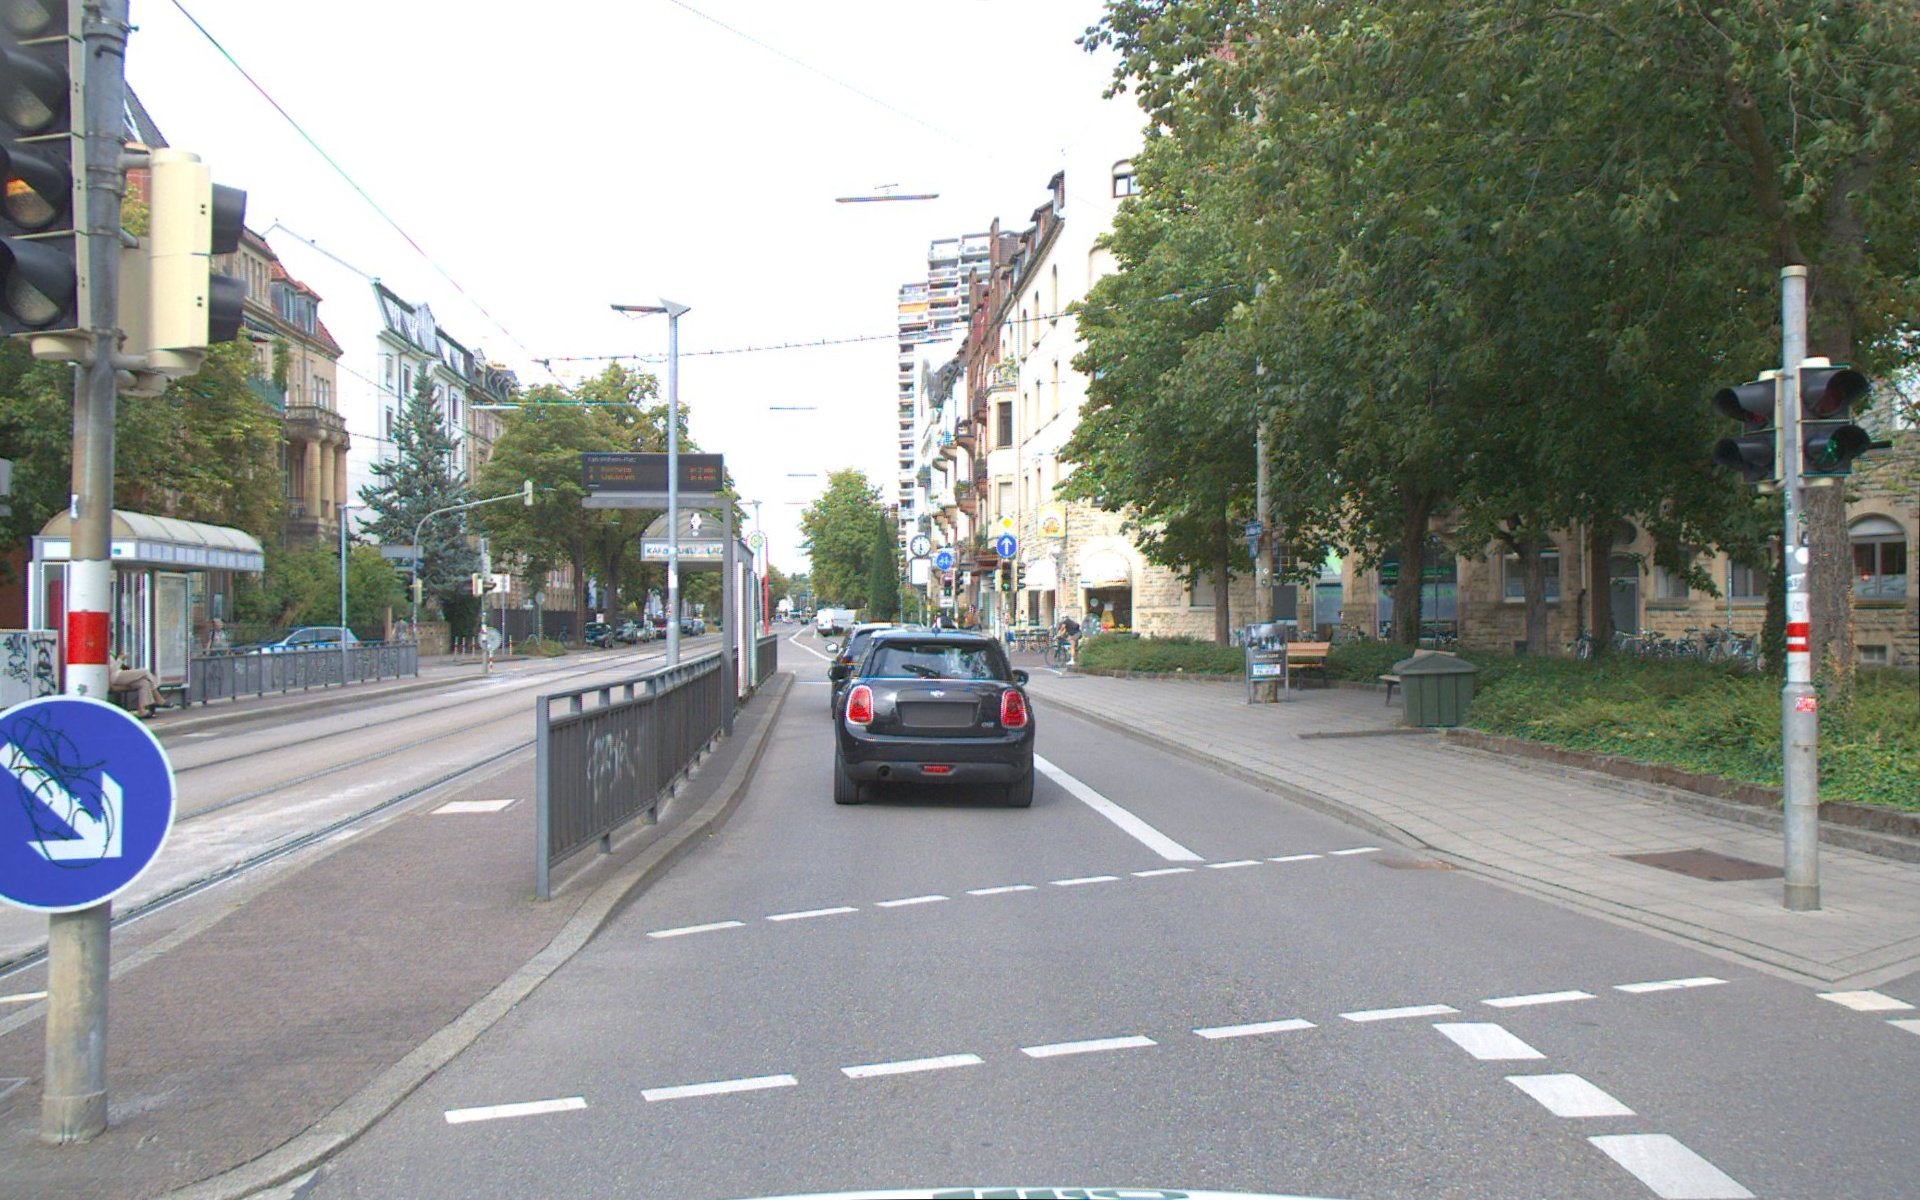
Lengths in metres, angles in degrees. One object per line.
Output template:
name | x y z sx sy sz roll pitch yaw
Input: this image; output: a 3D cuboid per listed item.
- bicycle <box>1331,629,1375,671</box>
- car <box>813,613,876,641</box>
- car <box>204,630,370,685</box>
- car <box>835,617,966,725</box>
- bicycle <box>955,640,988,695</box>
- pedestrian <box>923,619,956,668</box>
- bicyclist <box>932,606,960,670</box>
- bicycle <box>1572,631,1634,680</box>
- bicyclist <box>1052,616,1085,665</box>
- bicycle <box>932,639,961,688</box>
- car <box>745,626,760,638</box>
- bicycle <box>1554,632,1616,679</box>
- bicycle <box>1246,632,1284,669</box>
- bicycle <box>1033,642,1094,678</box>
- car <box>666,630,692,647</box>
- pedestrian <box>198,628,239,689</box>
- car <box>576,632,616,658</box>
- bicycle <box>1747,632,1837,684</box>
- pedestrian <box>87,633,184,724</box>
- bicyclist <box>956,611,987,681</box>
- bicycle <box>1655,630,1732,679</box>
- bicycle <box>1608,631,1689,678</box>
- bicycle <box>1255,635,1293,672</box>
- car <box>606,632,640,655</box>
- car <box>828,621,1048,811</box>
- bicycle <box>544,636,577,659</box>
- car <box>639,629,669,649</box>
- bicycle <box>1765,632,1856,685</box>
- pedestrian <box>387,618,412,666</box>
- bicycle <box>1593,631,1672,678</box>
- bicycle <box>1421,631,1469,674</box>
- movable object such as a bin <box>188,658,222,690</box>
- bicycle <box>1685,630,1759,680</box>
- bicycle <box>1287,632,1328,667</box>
bicycle | 11.350 1.434 47.774 0.522 1.147 1.886 -2 -1 37
car | -9.762 2.239 139.882 2.357 2.312 5.003 -2 -1 44
car | -20.779 1.749 51.212 2.167 1.606 4.332 -1 -1 35
car | -0.959 1.065 26.120 1.888 1.536 3.997 -1 -1 -3
bicycle | 0.261 1.530 37.795 0.586 1.191 1.695 -1 -1 -5
pedestrian | -0.735 1.596 60.119 0.719 1.703 0.830 -4 -1 42
bicyclist | -0.363 0.968 42.334 0.670 1.591 0.997 -1 -1 -3
bicycle | 16.502 1.413 42.410 1.872 1.147 0.526 -2 0 -36
bicyclist | 3.357 1.246 51.238 0.893 1.498 0.617 -1 -1 18
bicycle | -0.359 1.615 42.375 0.670 1.191 1.695 -1 -1 -3
car | -25.902 4.011 206.637 1.732 1.420 3.995 -1 -1 -5
bicycle | 16.211 1.430 42.872 1.872 1.147 0.526 -1 -1 -36
bicycle | 9.268 1.524 50.186 0.441 1.074 1.642 -2 -1 37
bicycle | 3.202 1.858 51.278 1.777 1.095 0.617 -1 -1 18
car | -26.466 3.635 155.855 1.954 1.579 3.996 -1 -1 -4
pedestrian | -20.287 1.590 45.275 0.853 1.661 0.743 -1 -1 -10
car | -20.776 2.569 94.476 1.732 1.420 3.995 -1 -1 -5
bicycle | 18.951 1.309 37.691 1.852 1.147 0.531 -1 -1 -9
pedestrian | -12.249 1.154 24.607 1.039 1.316 0.983 -1 -1 -10
bicyclist | 0.259 1.038 37.800 0.583 1.577 1.012 -1 -1 -5
bicycle | 17.815 1.324 40.158 1.861 1.147 0.578 0 -1 -22
bicycle | 17.145 1.346 41.166 1.855 1.147 0.596 0 -1 -14
bicycle | 9.451 1.599 49.817 0.441 1.074 1.642 -2 -1 37
car | -21.661 2.776 106.455 1.732 1.420 3.995 -1 -1 -5
car | -0.247 0.954 15.061 1.716 1.466 3.998 1 -1 -2
bicycle | -21.009 2.487 86.963 1.659 1.138 0.563 0 -1 -45
car | -24.566 3.125 132.994 1.954 1.579 3.996 -1 -1 -4
bicycle | 19.078 1.305 37.115 1.852 1.147 0.531 -1 -1 -9
pedestrian | -21.464 1.585 63.337 0.716 1.815 0.834 -1 -1 -5
bicycle | 16.961 1.359 41.738 1.855 1.147 0.561 0 -1 -14
bicycle | 13.450 1.454 45.855 0.654 1.147 1.886 -2 -1 37
movable object such as a bin | -20.491 2.006 44.897 0.715 0.813 0.620 -1 -1 -10
bicycle | 18.170 1.309 39.428 1.866 1.147 0.589 0 -1 -28
bicycle | 10.316 1.462 49.051 0.522 0.989 1.642 -2 -1 37
